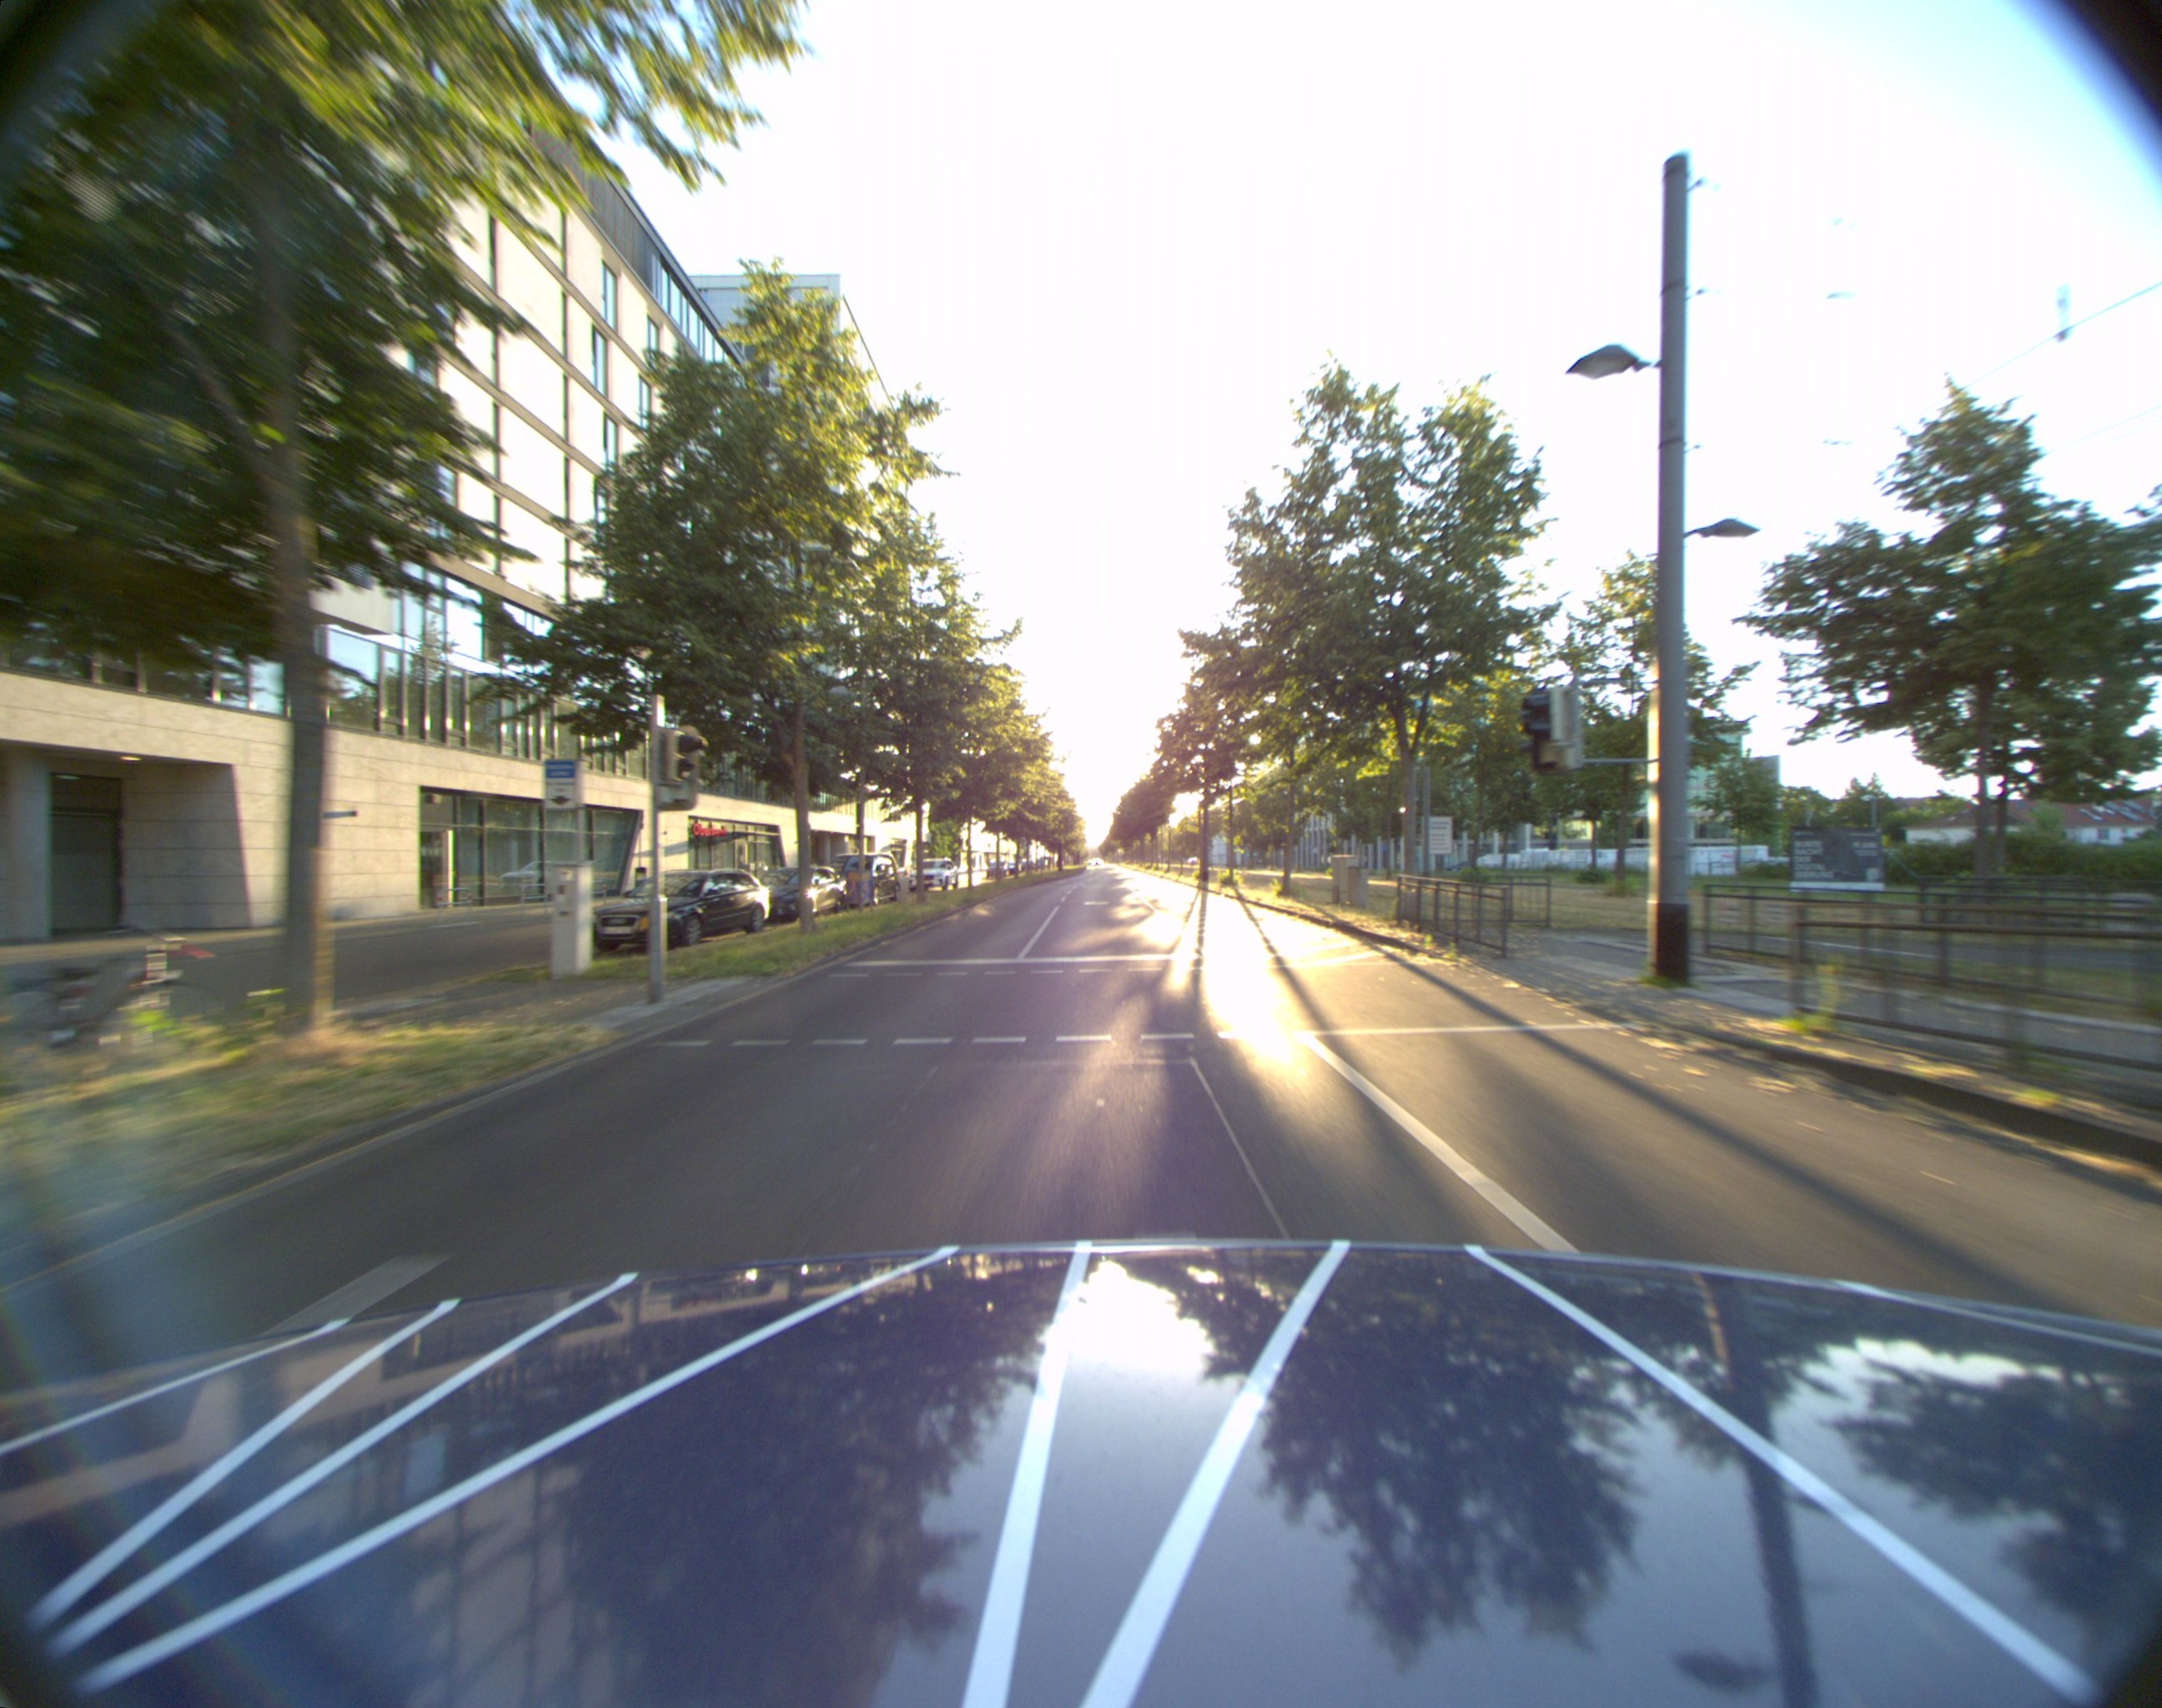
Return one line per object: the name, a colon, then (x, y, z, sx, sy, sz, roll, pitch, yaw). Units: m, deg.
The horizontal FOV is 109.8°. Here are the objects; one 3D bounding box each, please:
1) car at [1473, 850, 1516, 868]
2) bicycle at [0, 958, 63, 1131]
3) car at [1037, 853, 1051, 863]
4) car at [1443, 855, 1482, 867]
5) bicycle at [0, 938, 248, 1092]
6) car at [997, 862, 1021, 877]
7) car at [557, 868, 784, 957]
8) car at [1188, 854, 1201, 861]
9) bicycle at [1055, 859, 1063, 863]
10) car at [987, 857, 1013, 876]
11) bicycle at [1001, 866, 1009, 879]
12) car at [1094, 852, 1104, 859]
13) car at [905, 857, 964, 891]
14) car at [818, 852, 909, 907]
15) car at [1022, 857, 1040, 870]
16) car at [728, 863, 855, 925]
car: (47.281, 0.505, 87.006, 2.211, 2.002, 5.084, 0, 0, 1)
bicycle: (-7.767, 1.279, 4.610, 1.949, 1.048, 0.544, -4, 1, -14)
car: (-5.795, 0.640, 119.321, 1.843, 1.561, 4.061, -1, 0, 0)
car: (48.382, 0.900, 96.353, 3.996, 1.437, 1.895, 0, 0, 4)
bicycle: (-8.060, 1.301, 6.157, 1.946, 1.048, 0.545, -4, 1, 1)
car: (-6.895, 1.453, 73.160, 1.857, 1.359, 4.833, 0, 0, -1)
car: (-7.871, 1.036, 15.202, 1.873, 1.403, 4.646, 0, 0, 2)
car: (23.466, 0.685, 157.223, 1.907, 1.477, 4.631, 0, 0, -1)
bicycle: (-4.738, 1.528, 163.381, 1.718, 0.905, 0.363, 0, 0, 34)
car: (-6.869, 1.020, 64.479, 1.714, 1.506, 3.759, -2, 0, 0)
bicycle: (-5.021, 1.249, 50.349, 0.316, 0.818, 1.552, 0, 0, 2)
car: (3.610, 0.316, 155.643, 1.998, 1.473, 4.335, 0, -1, 0)
car: (-7.642, 1.010, 39.993, 1.998, 1.633, 4.878, 0, 0, 2)
car: (-7.805, 0.838, 27.749, 1.999, 1.841, 4.664, 0, 0, -1)
car: (-6.246, 1.204, 94.834, 1.785, 1.485, 4.000, -3, 0, 1)
car: (-7.882, 1.021, 21.207, 1.814, 1.463, 4.664, 0, 0, -1)
